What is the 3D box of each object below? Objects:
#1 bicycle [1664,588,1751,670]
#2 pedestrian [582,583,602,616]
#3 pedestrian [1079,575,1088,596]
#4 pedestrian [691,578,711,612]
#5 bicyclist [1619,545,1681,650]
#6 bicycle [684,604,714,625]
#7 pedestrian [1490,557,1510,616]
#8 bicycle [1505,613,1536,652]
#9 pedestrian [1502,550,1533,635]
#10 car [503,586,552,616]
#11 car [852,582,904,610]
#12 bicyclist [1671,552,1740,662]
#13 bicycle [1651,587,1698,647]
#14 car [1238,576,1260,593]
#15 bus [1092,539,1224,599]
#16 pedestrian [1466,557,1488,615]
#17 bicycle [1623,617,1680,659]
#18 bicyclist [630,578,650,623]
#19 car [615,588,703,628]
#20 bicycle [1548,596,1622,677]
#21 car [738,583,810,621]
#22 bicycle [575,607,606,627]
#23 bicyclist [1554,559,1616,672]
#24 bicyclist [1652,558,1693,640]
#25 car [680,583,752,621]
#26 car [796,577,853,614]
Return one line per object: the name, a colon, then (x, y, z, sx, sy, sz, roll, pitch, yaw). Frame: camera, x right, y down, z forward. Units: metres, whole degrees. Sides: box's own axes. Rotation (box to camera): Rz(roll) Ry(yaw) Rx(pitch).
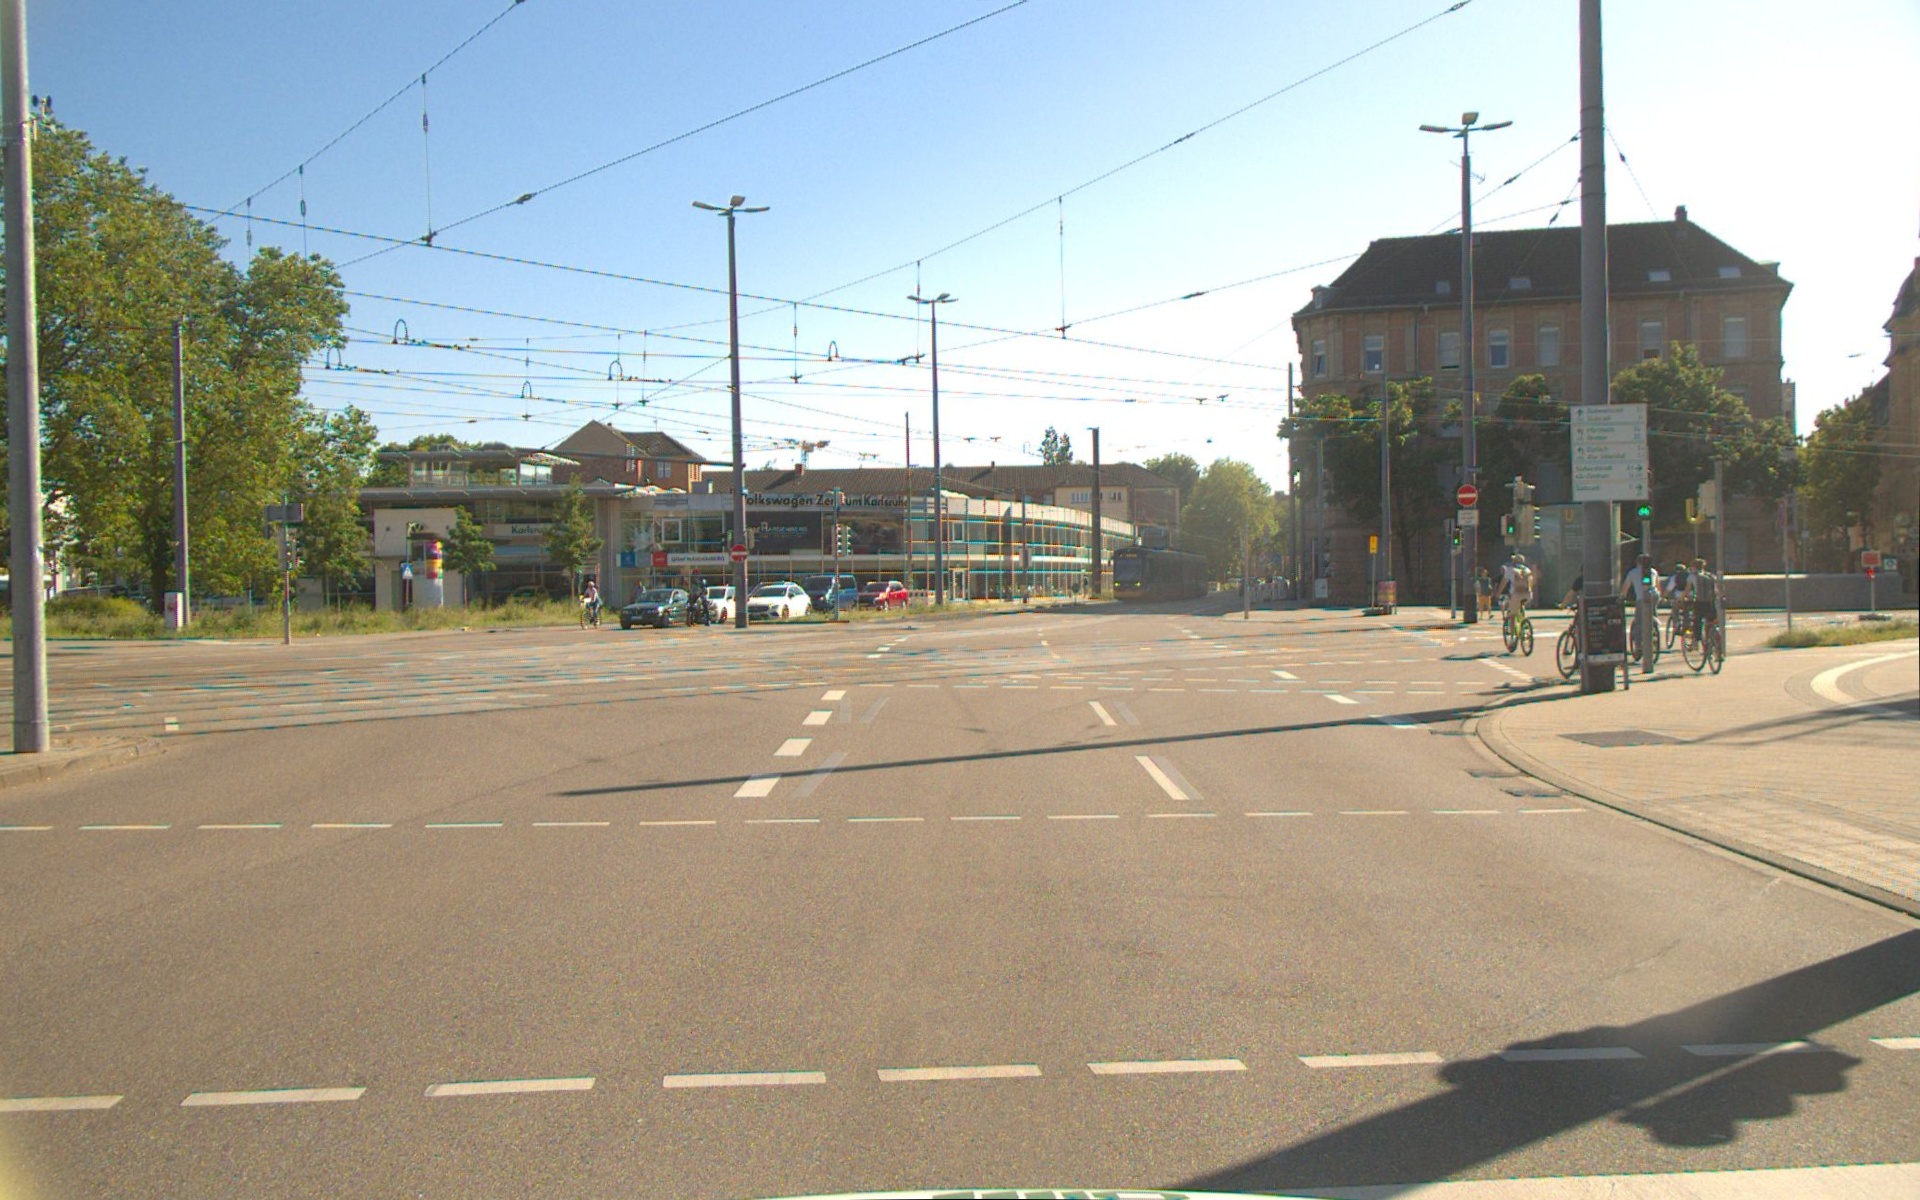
bicycle: (11.387, 0.424, 25.252, 0.670, 1.184, 1.885, -2, 0, 8)
pedestrian: (-13.899, -0.031, 62.441, 0.414, 1.225, 0.680, -1, 0, 20)
pedestrian: (10.011, -1.194, 134.304, 0.531, 1.718, 0.630, -1, 0, 21)
pedestrian: (-9.442, -0.191, 60.233, 0.413, 1.225, 0.750, -1, 0, 16)
bicyclist: (12.199, -0.050, 29.271, 0.731, 1.809, 0.925, -2, 0, 6)
bicycle: (-9.489, 0.528, 60.076, 0.413, 0.730, 1.636, -1, 1, 16)
pedestrian: (18.854, -0.472, 57.777, 0.453, 2.049, 0.449, -1, 1, -18)
bicycle: (10.710, 0.615, 31.602, 0.525, 0.667, 1.726, -1, 1, 19)
pedestrian: (10.663, -0.145, 31.600, 0.537, 1.590, 0.858, -1, 0, 19)
car: (-25.980, 0.037, 99.468, 1.926, 1.735, 4.083, -1, 1, -1)
car: (-4.250, -0.208, 86.015, 1.591, 1.388, 3.688, -1, 1, 16)
bicyclist: (11.398, 0.106, 25.308, 0.670, 1.626, 0.978, -2, 0, 8)
bicycle: (14.333, 0.322, 33.206, 0.559, 1.145, 1.742, -2, 0, 14)
car: (26.283, -1.389, 150.507, 1.663, 1.529, 4.268, -1, 1, 14)
bus: (14.164, -1.947, 114.562, 3.757, 3.670, 24.873, 1, 0, 19)
pedestrian: (18.448, -0.514, 59.038, 0.564, 2.049, 0.449, -1, 1, -19)
bicycle: (12.210, 0.658, 29.236, 0.525, 0.667, 1.469, -2, 1, 6)
bicyclist: (-12.509, 0.019, 64.650, 0.556, 1.743, 0.649, -1, 0, 12)
car: (-11.014, 0.263, 60.694, 1.667, 1.378, 3.703, -1, 1, 16)
bicycle: (9.539, 0.536, 25.300, 0.612, 1.133, 1.852, -2, 1, 7)
car: (-7.239, 0.065, 64.825, 1.591, 1.406, 3.741, -1, 1, 14)
bicycle: (-13.917, 0.636, 62.371, 0.414, 0.730, 1.475, -1, 1, 20)
bicyclist: (9.519, 0.214, 25.207, 0.612, 1.666, 0.996, -2, 1, 7)
bicyclist: (14.346, -0.021, 33.304, 0.559, 1.596, 0.947, -2, 0, 14)
car: (-9.791, 0.052, 66.668, 1.591, 1.448, 3.689, -1, 1, 14)
car: (-6.428, -0.243, 78.854, 1.591, 1.722, 3.689, -1, 1, 14)
